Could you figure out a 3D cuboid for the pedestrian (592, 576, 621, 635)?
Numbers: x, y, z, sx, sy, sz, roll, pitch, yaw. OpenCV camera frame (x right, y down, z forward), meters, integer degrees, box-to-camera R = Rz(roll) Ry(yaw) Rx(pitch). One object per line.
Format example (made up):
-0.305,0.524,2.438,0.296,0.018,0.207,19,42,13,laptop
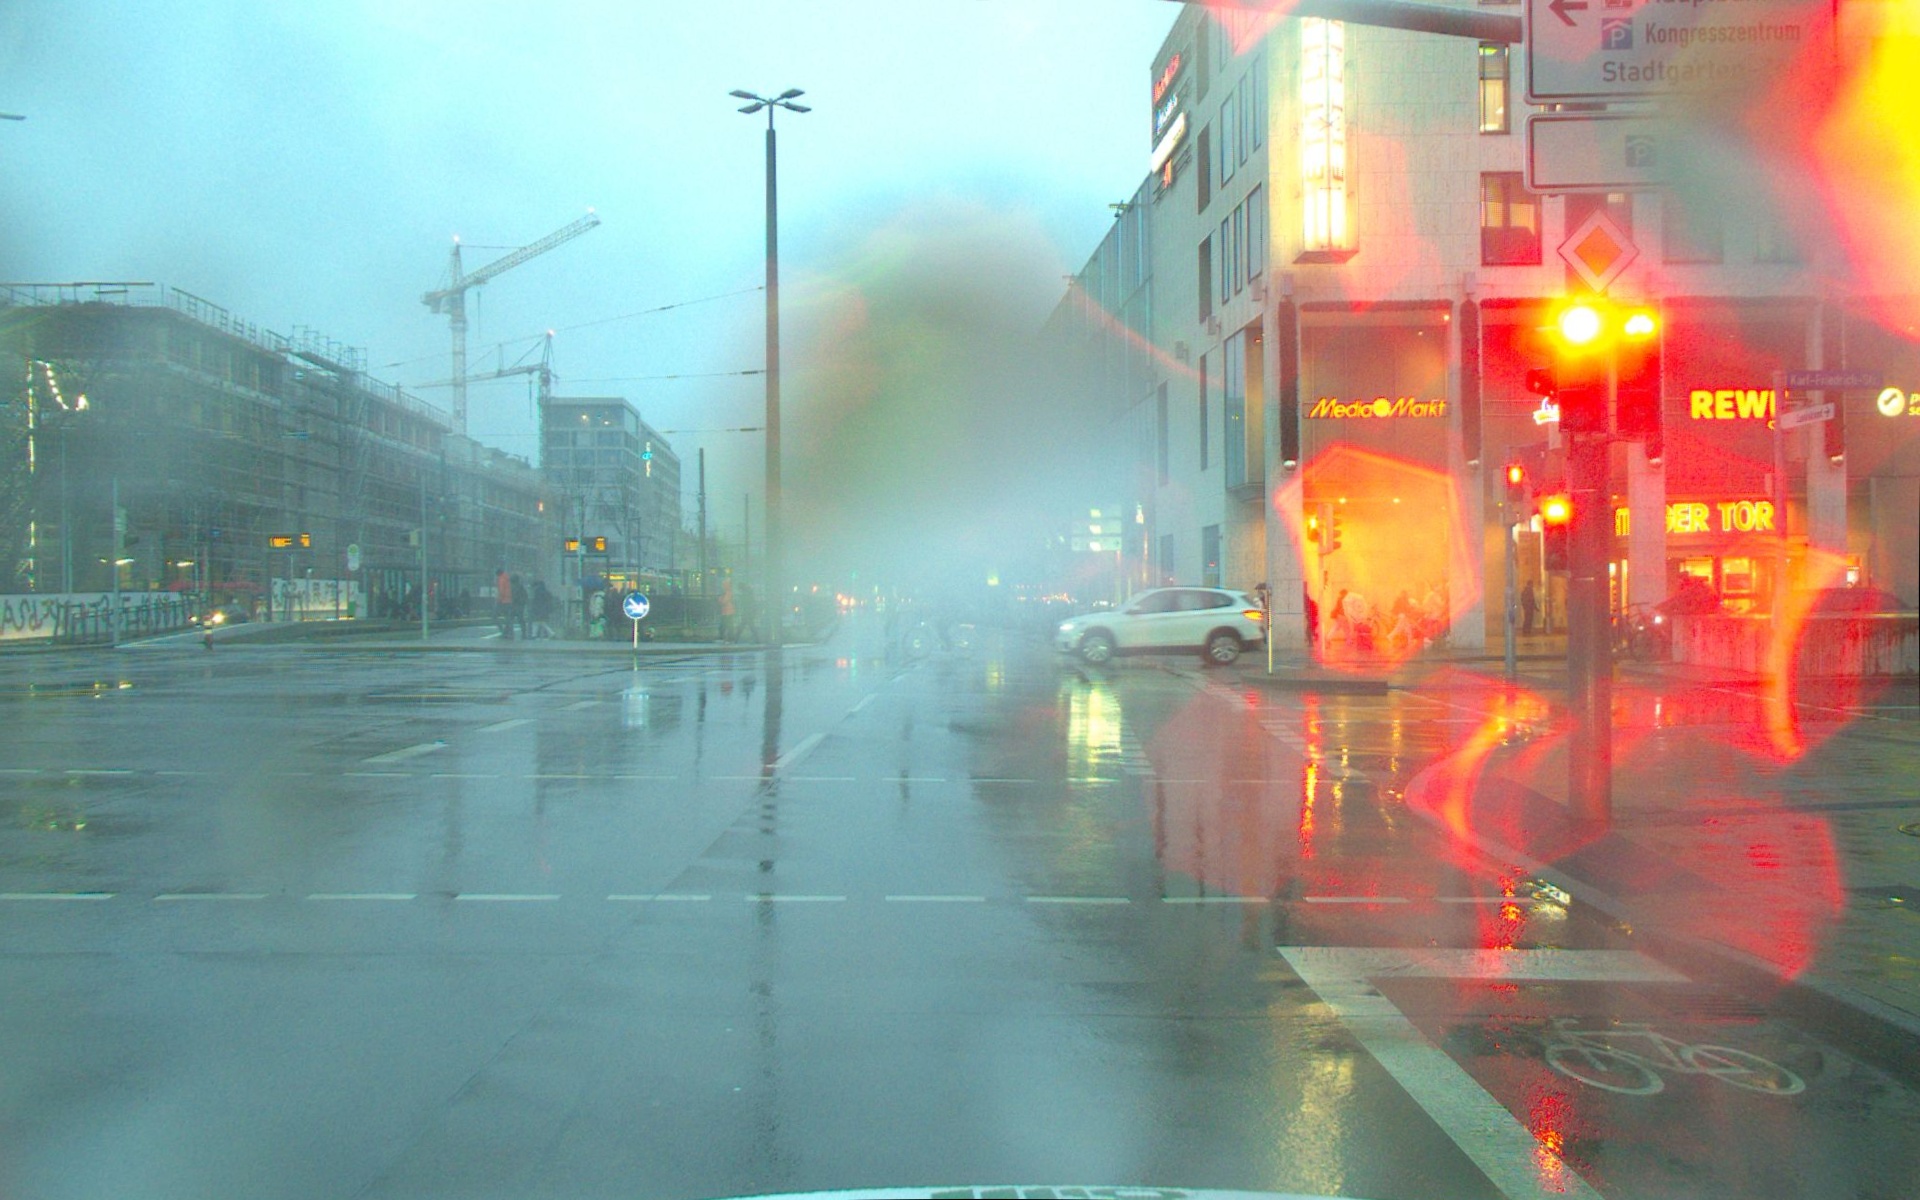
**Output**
-9.899,0.149,46.347,0.692,1.647,0.612,-1,0,-3,pedestrian

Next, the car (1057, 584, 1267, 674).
4.170,0.594,34.571,4.213,1.792,1.707,-1,0,2,car

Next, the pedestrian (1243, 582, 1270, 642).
8.475,0.345,47.303,0.725,1.696,0.401,-1,0,6,pedestrian

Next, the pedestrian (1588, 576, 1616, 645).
16.268,0.263,41.920,0.526,1.715,0.547,-1,0,37,pedestrian

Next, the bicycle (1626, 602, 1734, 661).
13.844,0.600,31.849,1.806,1.112,0.618,-1,0,14,bicycle

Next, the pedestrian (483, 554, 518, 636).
-12.039,-0.138,43.305,0.682,2.124,0.604,0,0,-41,pedestrian

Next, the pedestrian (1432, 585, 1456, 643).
14.727,0.420,50.314,0.526,1.748,0.500,-1,0,37,pedestrian

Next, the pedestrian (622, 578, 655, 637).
-9.079,0.219,46.756,0.793,1.635,0.745,-1,0,-1,pedestrian

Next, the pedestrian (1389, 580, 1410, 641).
13.112,0.306,49.337,0.501,1.791,0.374,-1,0,-1,pedestrian

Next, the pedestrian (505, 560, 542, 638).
-11.626,-0.035,44.018,0.770,2.049,0.604,-1,0,-39,pedestrian

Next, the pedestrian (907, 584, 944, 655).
-0.787,0.447,37.782,0.799,1.597,0.536,-1,0,-5,pedestrian

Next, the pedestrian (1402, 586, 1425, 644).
13.787,0.464,50.282,0.526,1.748,0.500,-1,0,37,pedestrian

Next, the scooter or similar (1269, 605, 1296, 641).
9.213,0.664,47.222,0.725,1.011,0.401,-1,0,6,scooter or similar

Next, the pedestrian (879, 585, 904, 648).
-1.969,0.470,47.777,0.688,1.791,0.652,-1,0,-1,pedestrian

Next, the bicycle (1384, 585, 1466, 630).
14.424,0.220,51.298,2.378,1.352,0.634,0,0,-6,bicycle

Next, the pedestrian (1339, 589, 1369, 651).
11.511,0.591,48.304,0.688,1.791,0.667,-1,0,-1,pedestrian

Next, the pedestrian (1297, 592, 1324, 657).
9.892,0.683,46.648,0.620,1.803,0.483,-1,0,-2,pedestrian

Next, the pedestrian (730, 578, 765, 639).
-6.049,0.240,47.182,0.825,1.718,0.678,-1,0,8,pedestrian

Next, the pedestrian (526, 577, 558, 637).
-11.635,0.204,46.057,0.692,1.647,0.680,-1,0,0,pedestrian

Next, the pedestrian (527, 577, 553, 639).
-12.109,0.223,47.676,0.607,1.776,0.612,-1,0,-6,pedestrian

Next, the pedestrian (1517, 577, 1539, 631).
18.260,0.129,53.136,0.526,1.748,0.500,-1,0,37,pedestrian

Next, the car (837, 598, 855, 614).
-13.190,0.662,191.759,1.850,1.814,3.713,1,-1,-1,car

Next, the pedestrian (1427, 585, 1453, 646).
14.180,0.462,48.884,0.605,1.791,0.482,-1,0,-1,pedestrian

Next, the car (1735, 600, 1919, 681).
18.715,0.830,34.287,4.440,1.601,1.798,-1,0,8,car

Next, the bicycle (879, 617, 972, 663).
-0.800,0.908,37.791,2.086,1.009,0.541,1,-1,-4,bicycle

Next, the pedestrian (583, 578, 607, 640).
-10.527,0.251,47.735,0.607,1.776,0.612,-1,0,-6,pedestrian

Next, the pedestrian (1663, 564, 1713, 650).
13.999,0.130,31.801,0.764,1.623,0.613,-1,0,14,pedestrian

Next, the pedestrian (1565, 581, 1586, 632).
21.090,0.215,56.657,0.526,1.748,0.500,-1,0,37,pedestrian

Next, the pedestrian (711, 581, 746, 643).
-6.469,0.332,46.292,0.813,1.709,0.620,-1,0,7,pedestrian
